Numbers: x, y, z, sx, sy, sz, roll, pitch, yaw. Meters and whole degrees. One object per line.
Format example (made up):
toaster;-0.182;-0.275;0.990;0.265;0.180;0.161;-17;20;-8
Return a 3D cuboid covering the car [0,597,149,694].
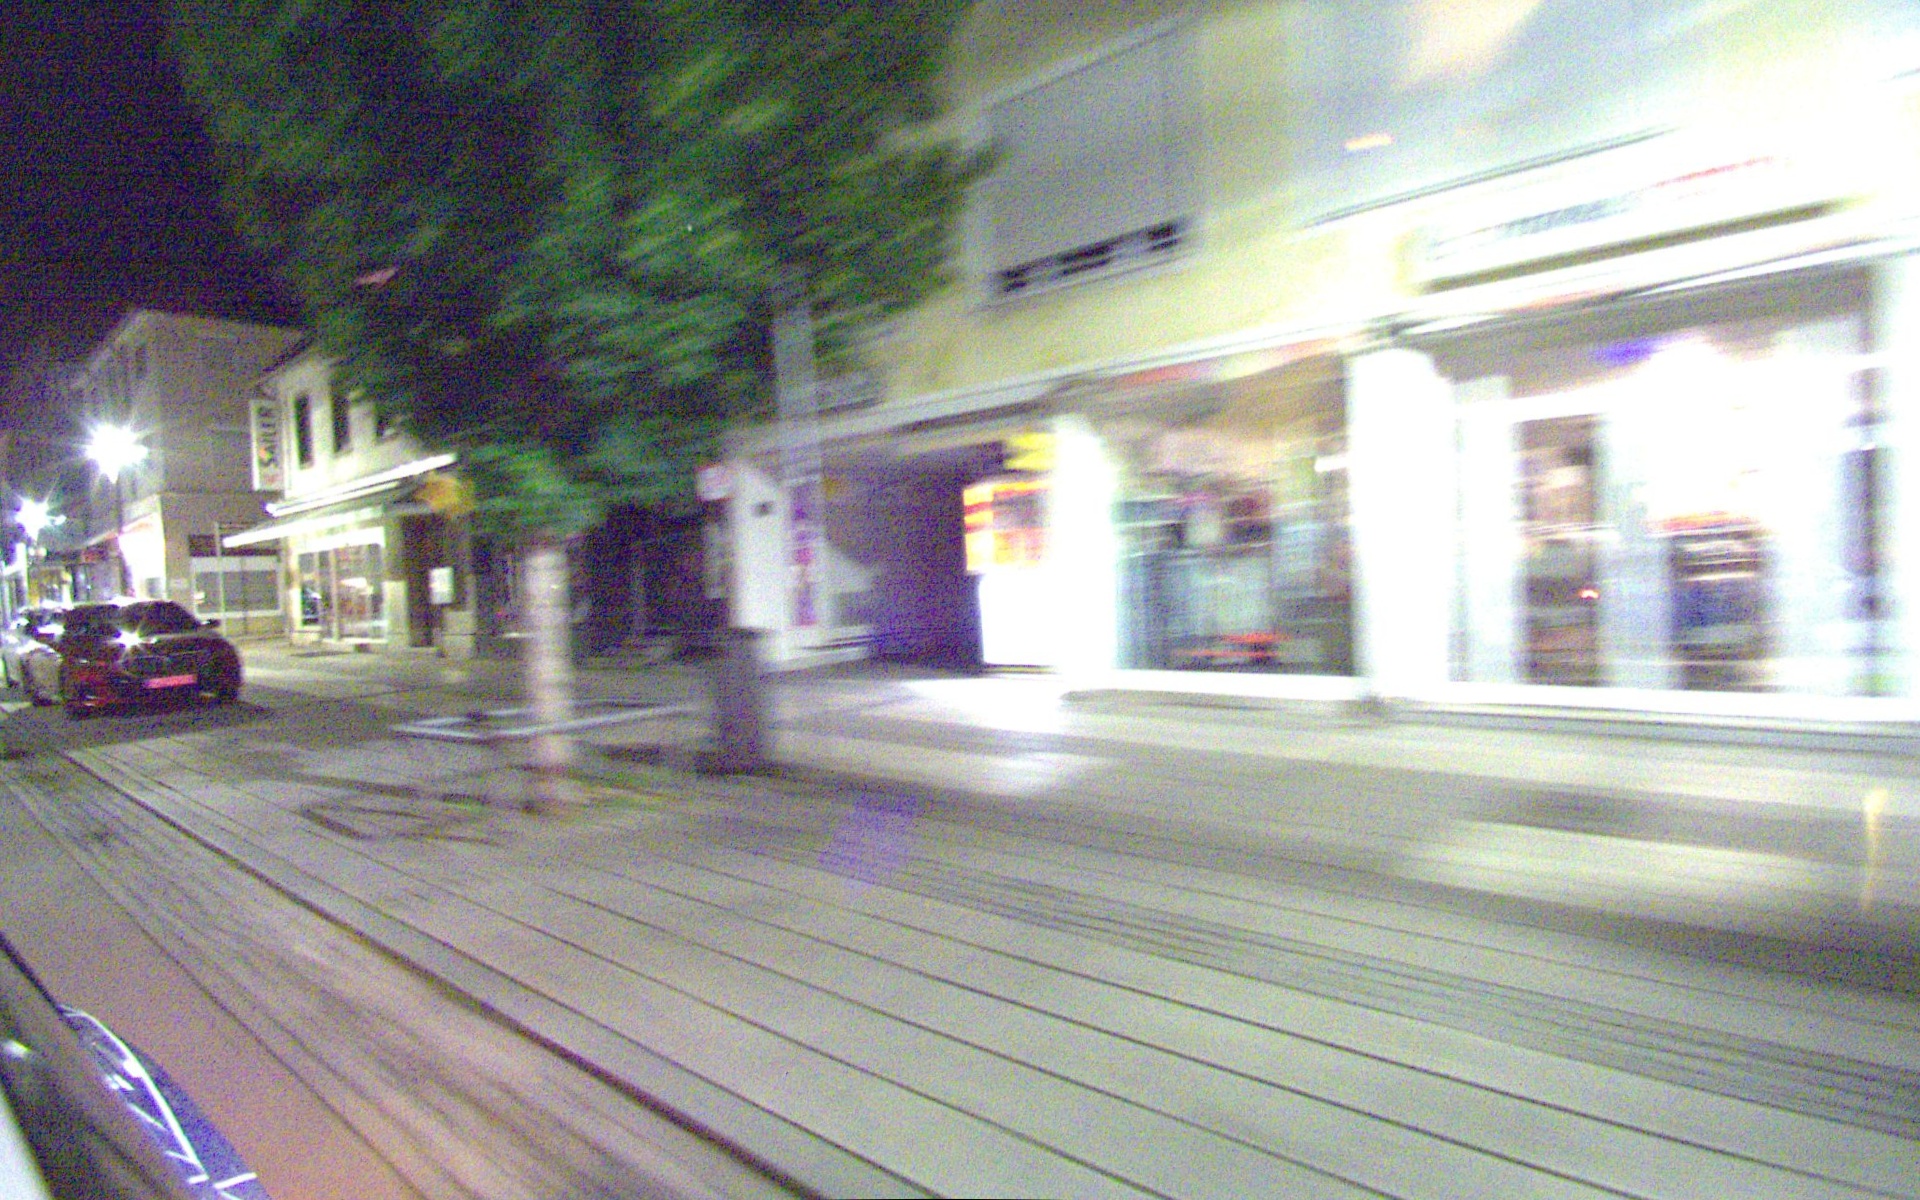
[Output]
car;-16.243;0.759;18.327;3.845;1.487;1.711;-1;3;41

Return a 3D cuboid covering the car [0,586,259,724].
car;-12.102;0.687;14.604;5.005;1.498;1.999;-1;5;41

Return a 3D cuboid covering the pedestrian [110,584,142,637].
pedestrian;-28.894;0.358;35.068;1.022;1.758;0.614;-1;3;42
